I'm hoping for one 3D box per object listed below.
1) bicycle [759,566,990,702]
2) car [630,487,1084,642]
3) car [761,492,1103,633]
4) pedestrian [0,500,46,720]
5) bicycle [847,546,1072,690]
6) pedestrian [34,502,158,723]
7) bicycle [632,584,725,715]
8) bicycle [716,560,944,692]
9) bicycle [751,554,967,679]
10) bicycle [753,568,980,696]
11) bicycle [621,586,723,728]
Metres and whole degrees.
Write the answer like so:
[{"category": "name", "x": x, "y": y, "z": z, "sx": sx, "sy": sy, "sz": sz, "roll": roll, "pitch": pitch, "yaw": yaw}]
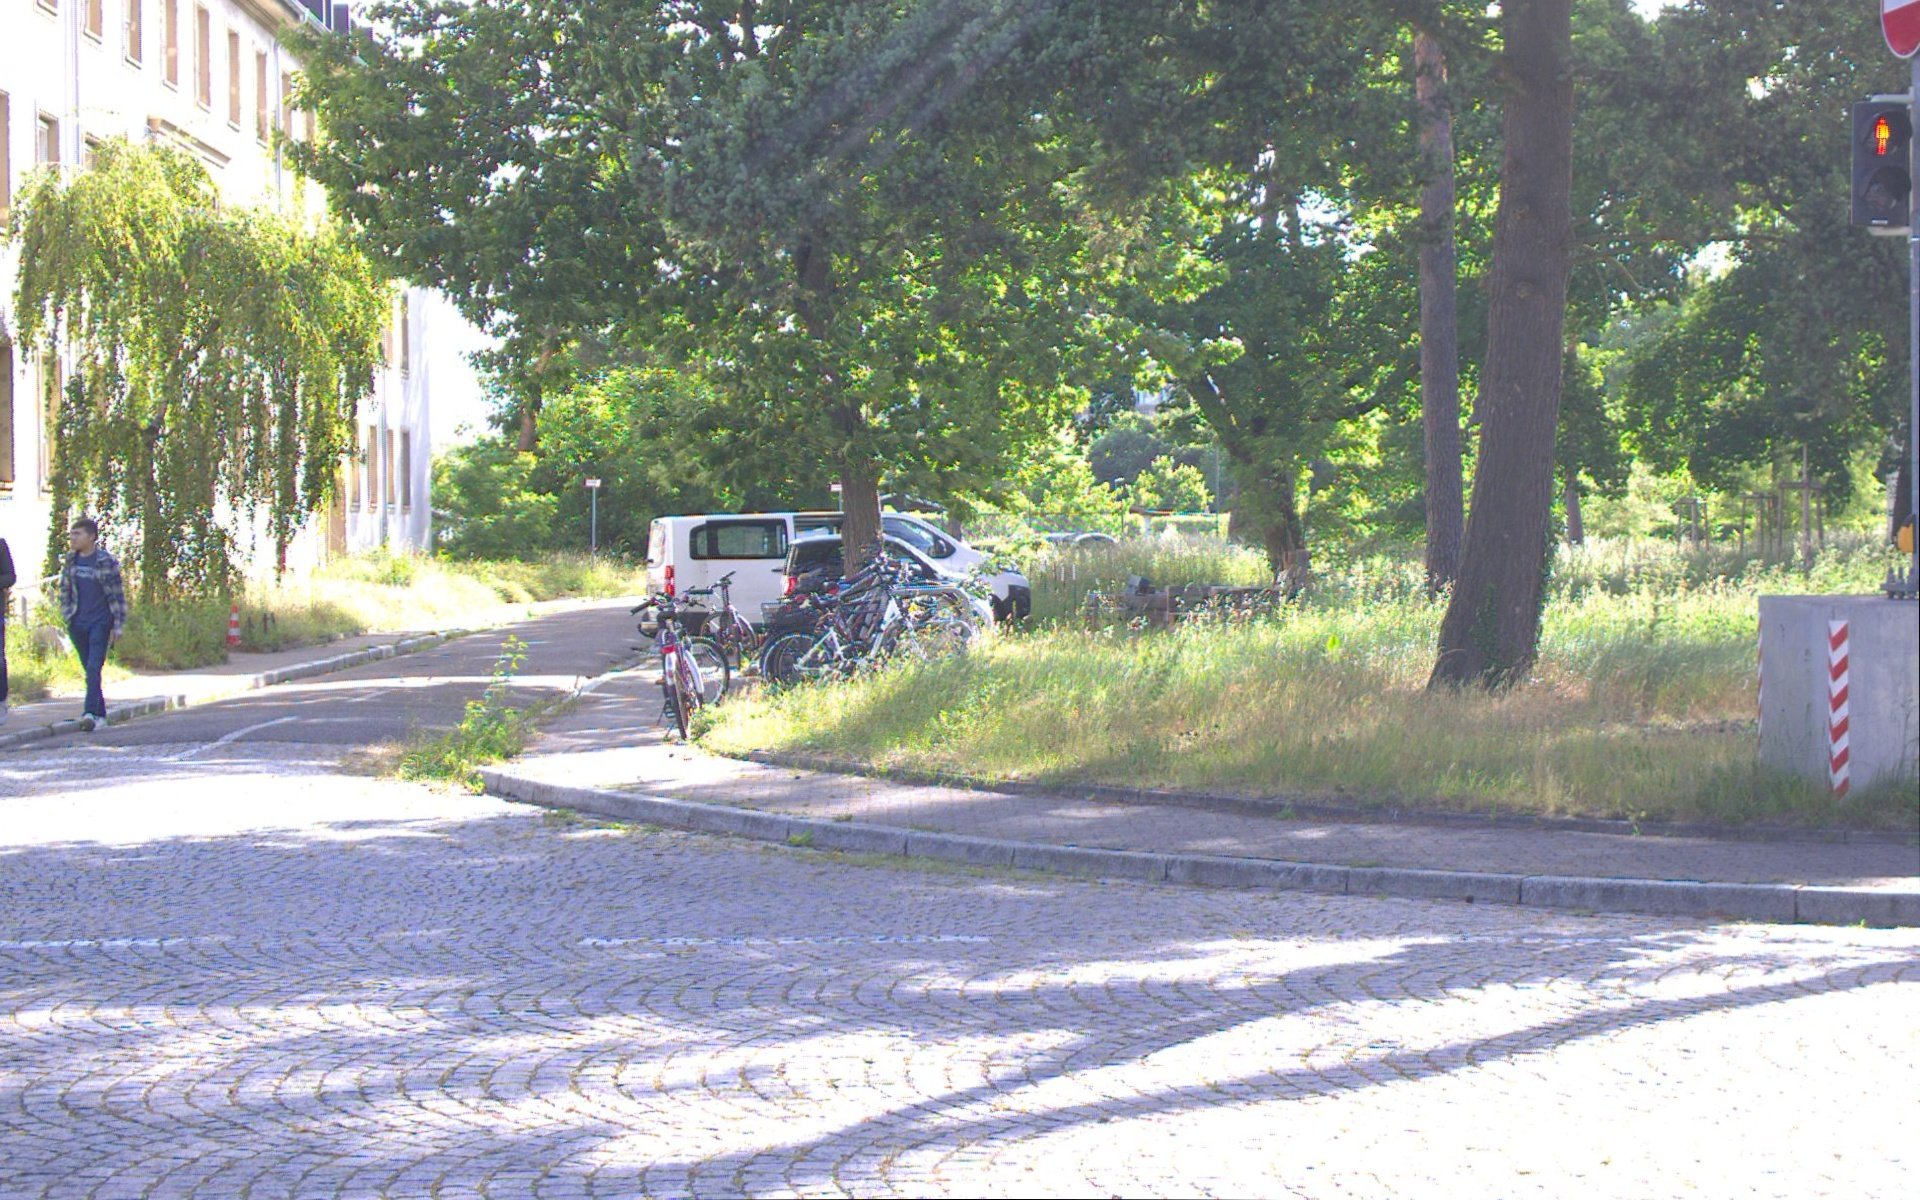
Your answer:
[{"category": "bicycle", "x": -0.745, "y": 0.286, "z": 29.529, "sx": 1.940, "sy": 1.125, "sz": 0.750, "roll": -1, "pitch": 1, "yaw": -4}, {"category": "car", "x": -1.451, "y": -0.507, "z": 46.792, "sx": 5.929, "sy": 2.007, "sz": 2.476, "roll": -1, "pitch": 1, "yaw": -8}, {"category": "car", "x": -0.375, "y": -0.478, "z": 42.476, "sx": 3.986, "sy": 1.678, "sz": 1.848, "roll": -1, "pitch": 1, "yaw": -9}, {"category": "pedestrian", "x": -8.111, "y": 0.077, "z": 28.583, "sx": 0.812, "sy": 1.811, "sz": 0.555, "roll": 0, "pitch": 1, "yaw": 10}, {"category": "bicycle", "x": -0.010, "y": 0.153, "z": 30.233, "sx": 1.940, "sy": 1.231, "sz": 0.485, "roll": -1, "pitch": 1, "yaw": -4}, {"category": "pedestrian", "x": -7.171, "y": 0.093, "z": 28.553, "sx": 0.767, "sy": 1.811, "sz": 0.682, "roll": 0, "pitch": 1, "yaw": 10}, {"category": "bicycle", "x": -2.211, "y": 0.371, "z": 27.172, "sx": 0.695, "sy": 0.968, "sz": 1.861, "roll": 0, "pitch": 1, "yaw": -3}, {"category": "bicycle", "x": -1.159, "y": 0.217, "z": 30.730, "sx": 1.940, "sy": 1.125, "sz": 0.648, "roll": -1, "pitch": 1, "yaw": -28}, {"category": "bicycle", "x": -0.940, "y": 0.147, "z": 31.835, "sx": 1.940, "sy": 1.125, "sz": 0.648, "roll": -1, "pitch": 1, "yaw": -6}, {"category": "bicycle", "x": -0.790, "y": 0.261, "z": 28.727, "sx": 1.854, "sy": 1.027, "sz": 0.750, "roll": -1, "pitch": 1, "yaw": -4}, {"category": "bicycle", "x": -2.099, "y": 0.397, "z": 25.224, "sx": 0.695, "sy": 0.968, "sz": 1.861, "roll": 0, "pitch": 1, "yaw": -3}]
